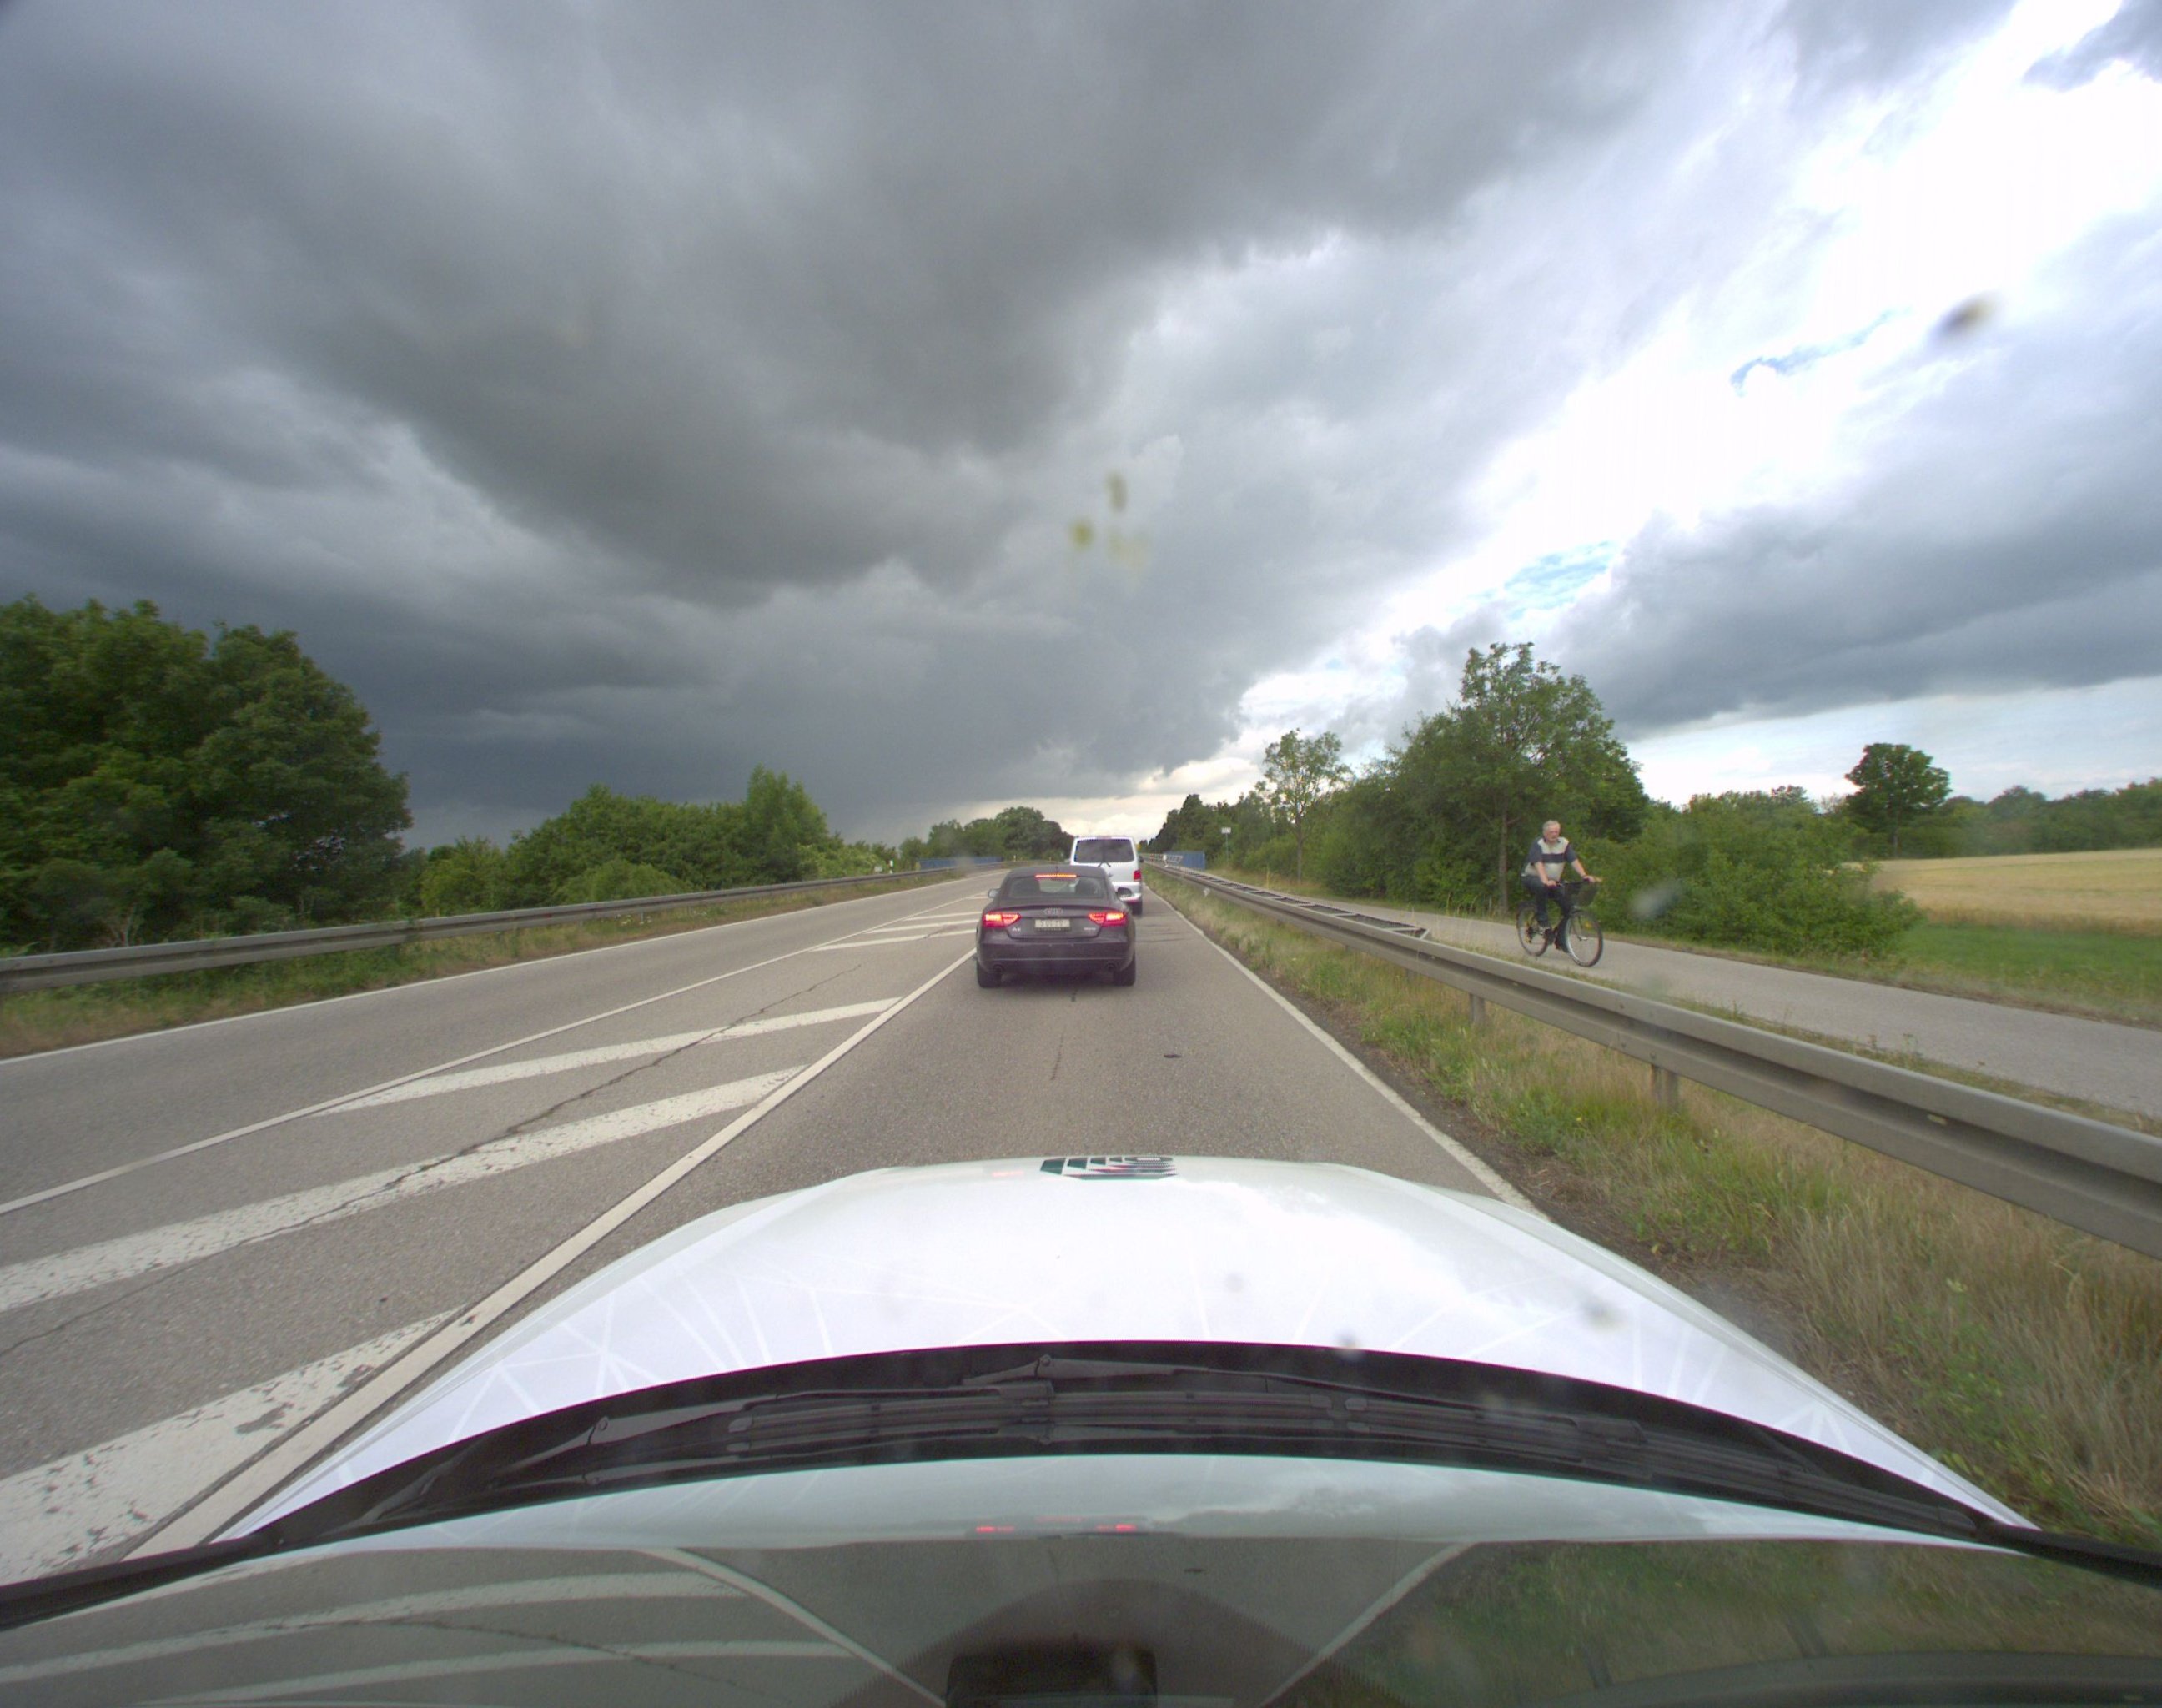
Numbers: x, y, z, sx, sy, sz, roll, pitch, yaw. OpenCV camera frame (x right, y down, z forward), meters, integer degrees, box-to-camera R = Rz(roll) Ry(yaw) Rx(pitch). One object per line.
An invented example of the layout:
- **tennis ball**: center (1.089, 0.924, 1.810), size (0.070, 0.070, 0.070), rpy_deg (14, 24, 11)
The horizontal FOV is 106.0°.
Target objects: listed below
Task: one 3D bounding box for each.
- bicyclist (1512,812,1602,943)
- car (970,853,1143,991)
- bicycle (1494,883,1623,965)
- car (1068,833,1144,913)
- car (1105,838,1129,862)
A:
- **bicyclist**: center (6.264, 0.302, 10.757), size (0.644, 1.645, 0.866), rpy_deg (-2, 0, 1)
- **car**: center (-0.196, 0.723, 10.468), size (1.779, 1.424, 4.001), rpy_deg (-1, -1, 2)
- **bicycle**: center (6.278, 0.890, 10.835), size (0.663, 0.920, 1.831), rpy_deg (-2, 0, 2)
- **car**: center (0.662, 0.473, 21.374), size (1.779, 1.890, 4.001), rpy_deg (-1, -1, 2)
- **car**: center (3.825, -0.441, 86.526), size (2.438, 2.504, 5.044), rpy_deg (-1, 0, 2)
